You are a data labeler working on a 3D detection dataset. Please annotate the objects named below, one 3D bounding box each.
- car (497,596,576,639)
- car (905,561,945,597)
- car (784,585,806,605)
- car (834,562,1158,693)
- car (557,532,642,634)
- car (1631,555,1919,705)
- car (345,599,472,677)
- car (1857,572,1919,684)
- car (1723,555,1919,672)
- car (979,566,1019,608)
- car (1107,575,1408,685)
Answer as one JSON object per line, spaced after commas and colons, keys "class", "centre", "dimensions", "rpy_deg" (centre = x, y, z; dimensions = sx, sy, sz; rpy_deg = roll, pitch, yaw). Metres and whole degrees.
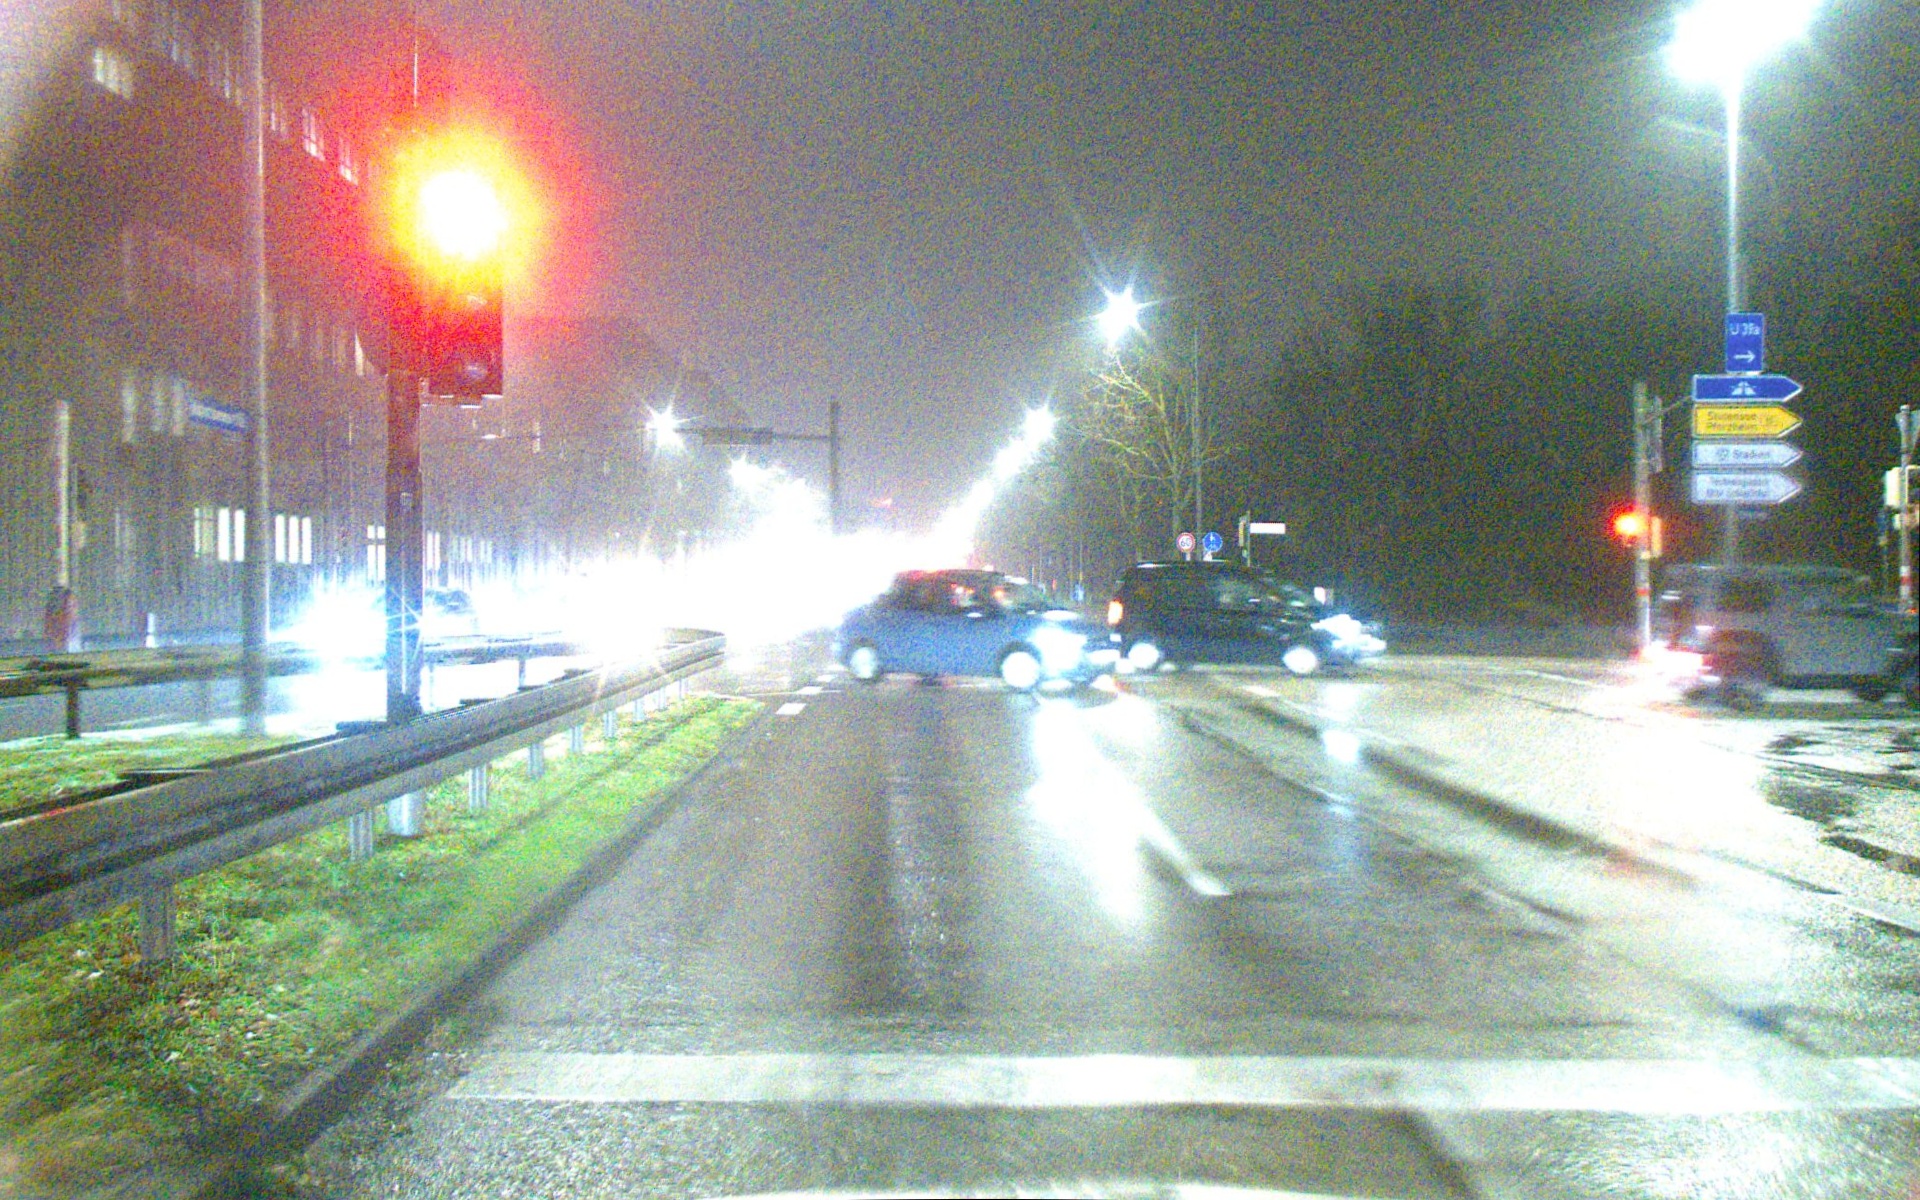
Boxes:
{"class": "car", "centre": [-14.971, 0.617, 58.659], "dimensions": [1.787, 1.490, 3.999], "rpy_deg": [0, 0, -1]}
{"class": "car", "centre": [-2.345, -1.336, 108.347], "dimensions": [2.393, 2.232, 5.075], "rpy_deg": [0, 0, -4]}
{"class": "car", "centre": [-15.223, -0.463, 152.705], "dimensions": [1.714, 1.738, 4.497], "rpy_deg": [-1, 0, -1]}
{"class": "car", "centre": [0.458, 0.367, 23.576], "dimensions": [4.331, 1.702, 1.950], "rpy_deg": [0, -1, 38]}
{"class": "car", "centre": [-7.690, -0.334, 35.334], "dimensions": [1.669, 2.049, 3.556], "rpy_deg": [0, 0, -12]}
{"class": "car", "centre": [10.469, 0.355, 20.473], "dimensions": [3.673, 1.764, 1.724], "rpy_deg": [0, -1, 5]}
{"class": "car", "centre": [-11.486, 0.761, 34.651], "dimensions": [1.665, 1.543, 3.565], "rpy_deg": [0, 0, -4]}
{"class": "car", "centre": [20.881, 0.578, 34.300], "dimensions": [3.553, 2.253, 2.217], "rpy_deg": [0, -1, 13]}
{"class": "car", "centre": [16.192, 0.241, 29.912], "dimensions": [3.902, 2.049, 2.001], "rpy_deg": [0, -1, 5]}
{"class": "car", "centre": [1.978, -0.628, 83.788], "dimensions": [1.996, 2.049, 4.307], "rpy_deg": [0, 0, 1]}
{"class": "car", "centre": [4.759, 0.452, 26.571], "dimensions": [4.413, 1.646, 1.905], "rpy_deg": [0, -1, 28]}
